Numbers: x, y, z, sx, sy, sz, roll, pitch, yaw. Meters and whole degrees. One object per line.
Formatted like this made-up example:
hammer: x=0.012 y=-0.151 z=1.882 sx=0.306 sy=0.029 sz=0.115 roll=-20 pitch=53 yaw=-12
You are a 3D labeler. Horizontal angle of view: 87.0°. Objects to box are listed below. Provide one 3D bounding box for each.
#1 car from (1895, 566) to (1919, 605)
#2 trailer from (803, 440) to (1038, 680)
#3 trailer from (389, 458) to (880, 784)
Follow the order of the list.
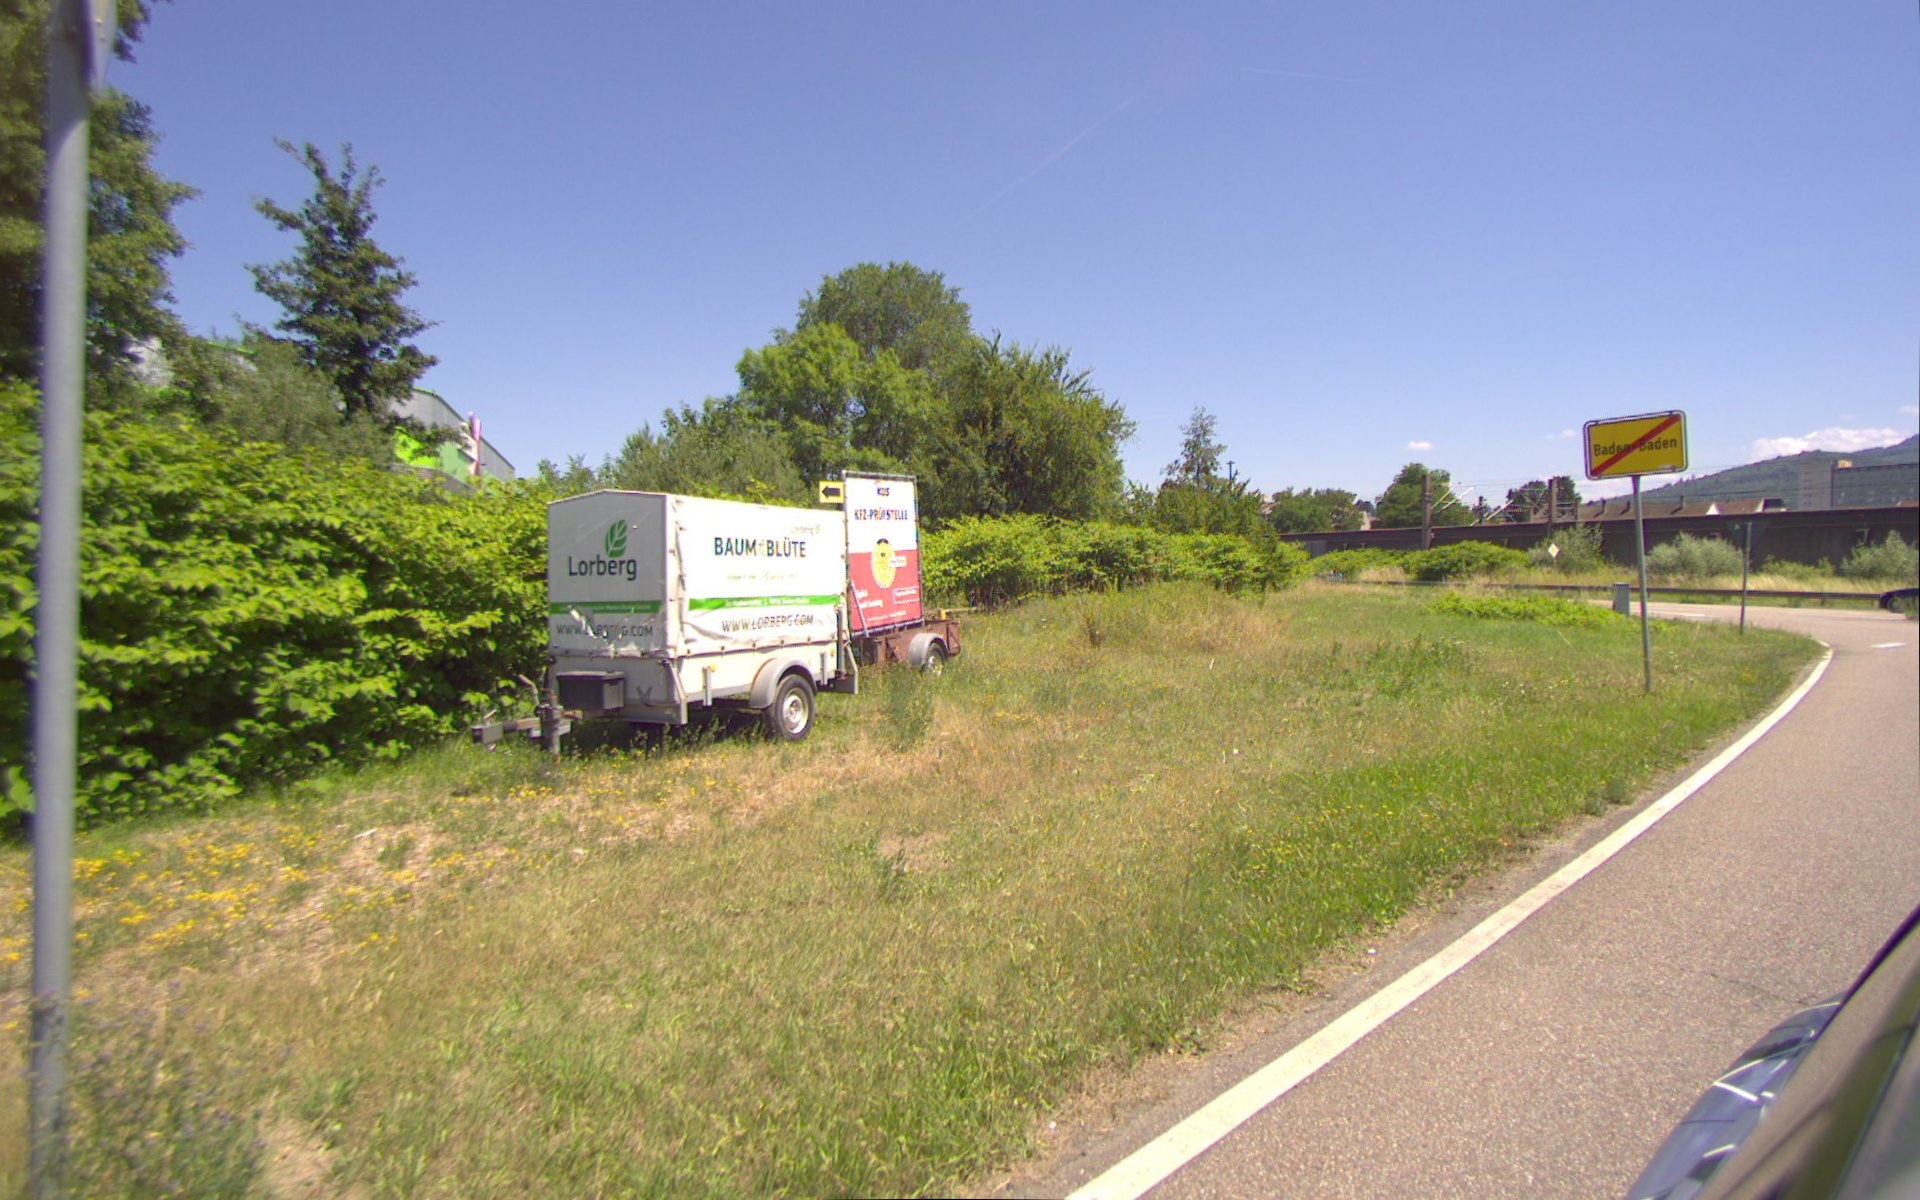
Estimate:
car: x=37.715 y=-0.495 z=37.244 sx=1.751 sy=1.472 sz=4.529 roll=0 pitch=2 yaw=-19
trailer: x=-0.398 y=-0.512 z=13.206 sx=1.832 sy=2.703 sz=3.121 roll=0 pitch=2 yaw=25
trailer: x=-2.463 y=0.057 z=8.717 sx=1.832 sy=2.103 sz=3.937 roll=0 pitch=2 yaw=25
